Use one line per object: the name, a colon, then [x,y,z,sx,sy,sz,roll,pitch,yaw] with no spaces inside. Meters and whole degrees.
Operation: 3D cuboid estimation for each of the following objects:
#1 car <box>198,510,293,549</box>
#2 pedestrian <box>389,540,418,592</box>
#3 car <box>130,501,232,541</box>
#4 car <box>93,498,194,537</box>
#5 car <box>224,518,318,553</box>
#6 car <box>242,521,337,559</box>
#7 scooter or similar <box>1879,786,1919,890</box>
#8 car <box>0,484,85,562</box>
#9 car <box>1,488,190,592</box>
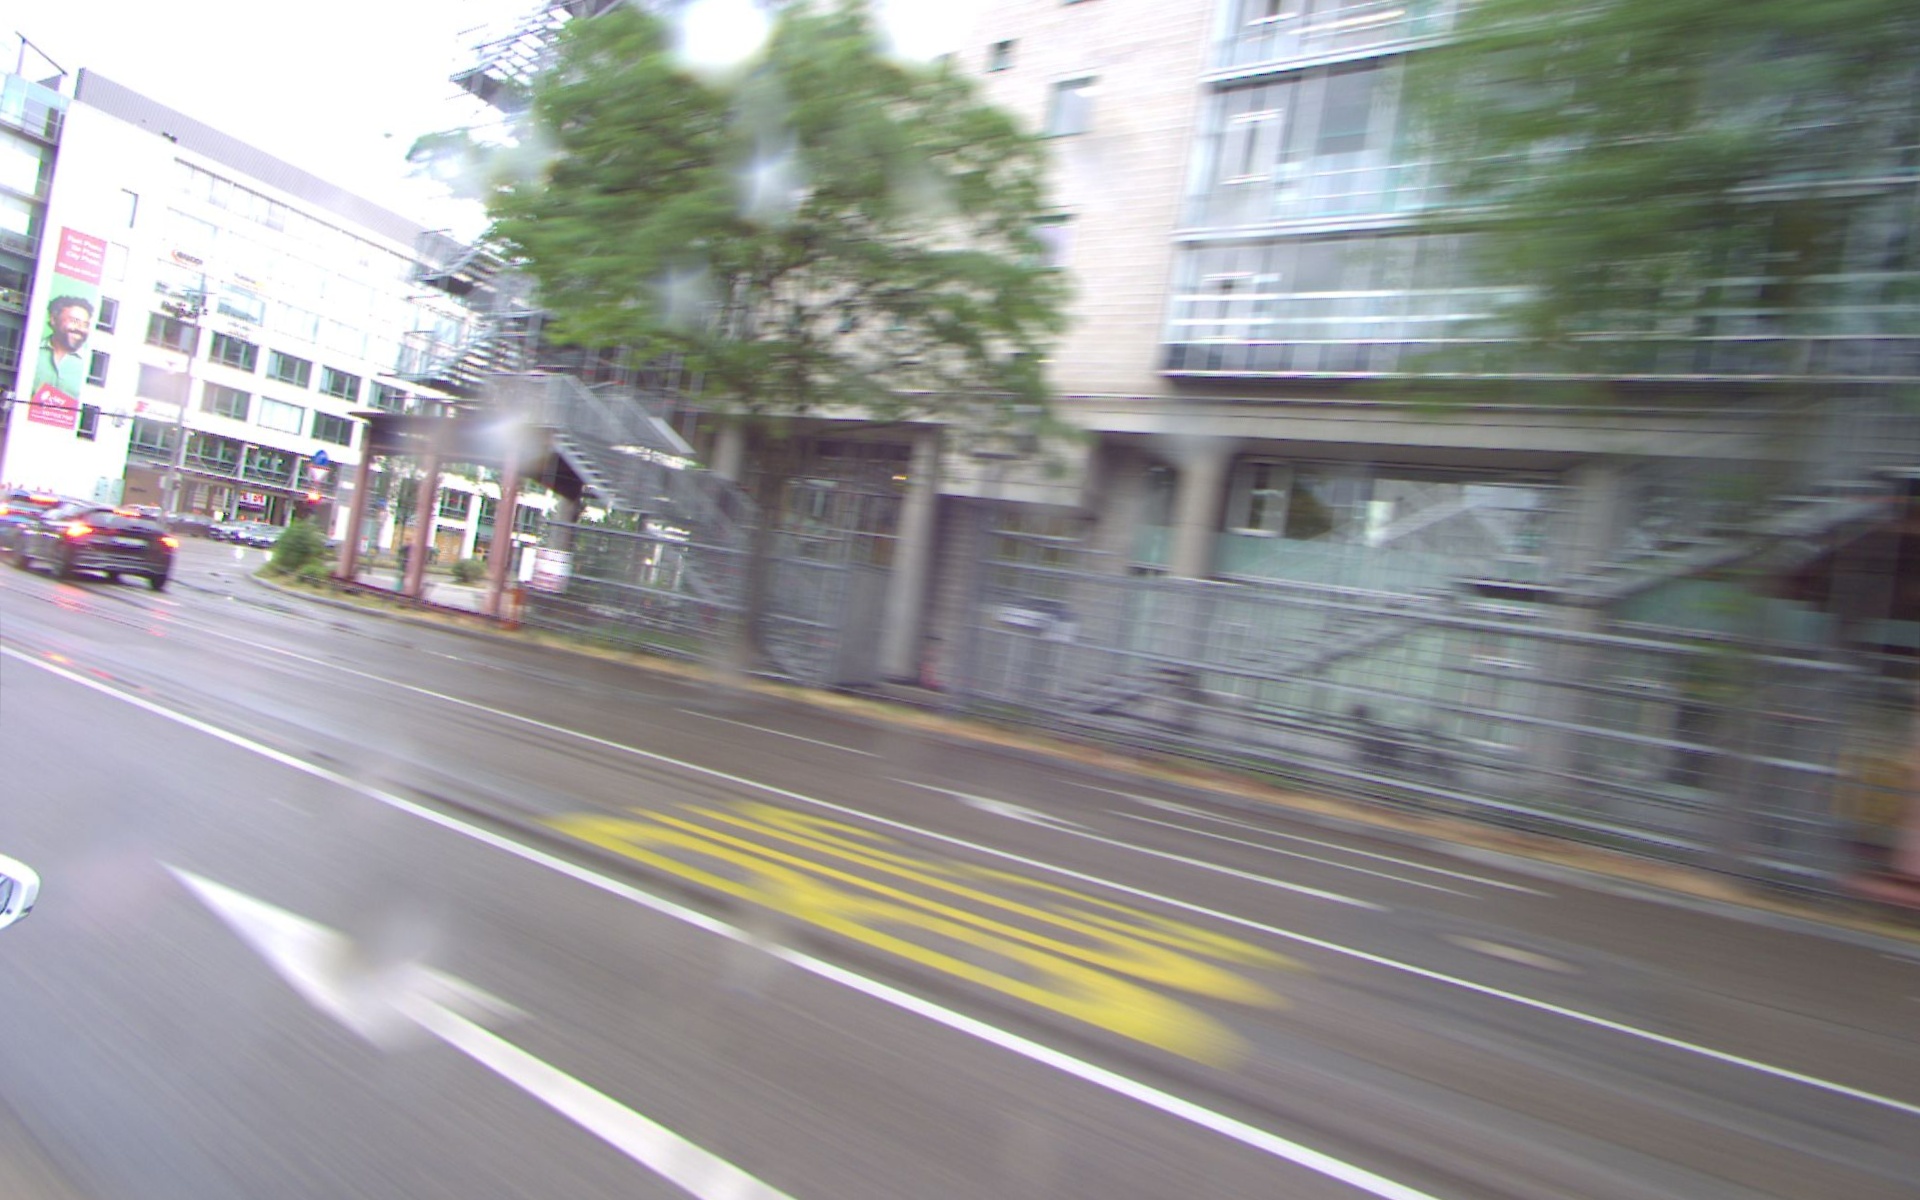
car: [-44.749,-4.365,63.121,1.962,1.616,4.469,8,-2,17]
pedestrian: [-21.344,-1.305,38.582,0.675,1.874,1.047,8,0,-33]
car: [-48.074,-4.869,62.200,1.963,1.616,4.468,8,-2,20]
car: [-51.325,-5.171,63.369,1.962,1.616,4.470,8,-2,17]
car: [-41.747,-3.863,61.083,1.690,1.363,4.469,8,-2,17]
car: [-39.486,-3.527,59.374,1.691,1.480,4.469,8,-2,19]
scooter or similar: [12.257,3.007,12.140,1.522,1.175,0.632,8,-1,32]
car: [-23.019,-1.958,24.974,1.699,1.547,4.373,9,-2,-43]
car: [-17.629,-1.240,20.470,4.080,1.558,1.781,7,-2,34]
